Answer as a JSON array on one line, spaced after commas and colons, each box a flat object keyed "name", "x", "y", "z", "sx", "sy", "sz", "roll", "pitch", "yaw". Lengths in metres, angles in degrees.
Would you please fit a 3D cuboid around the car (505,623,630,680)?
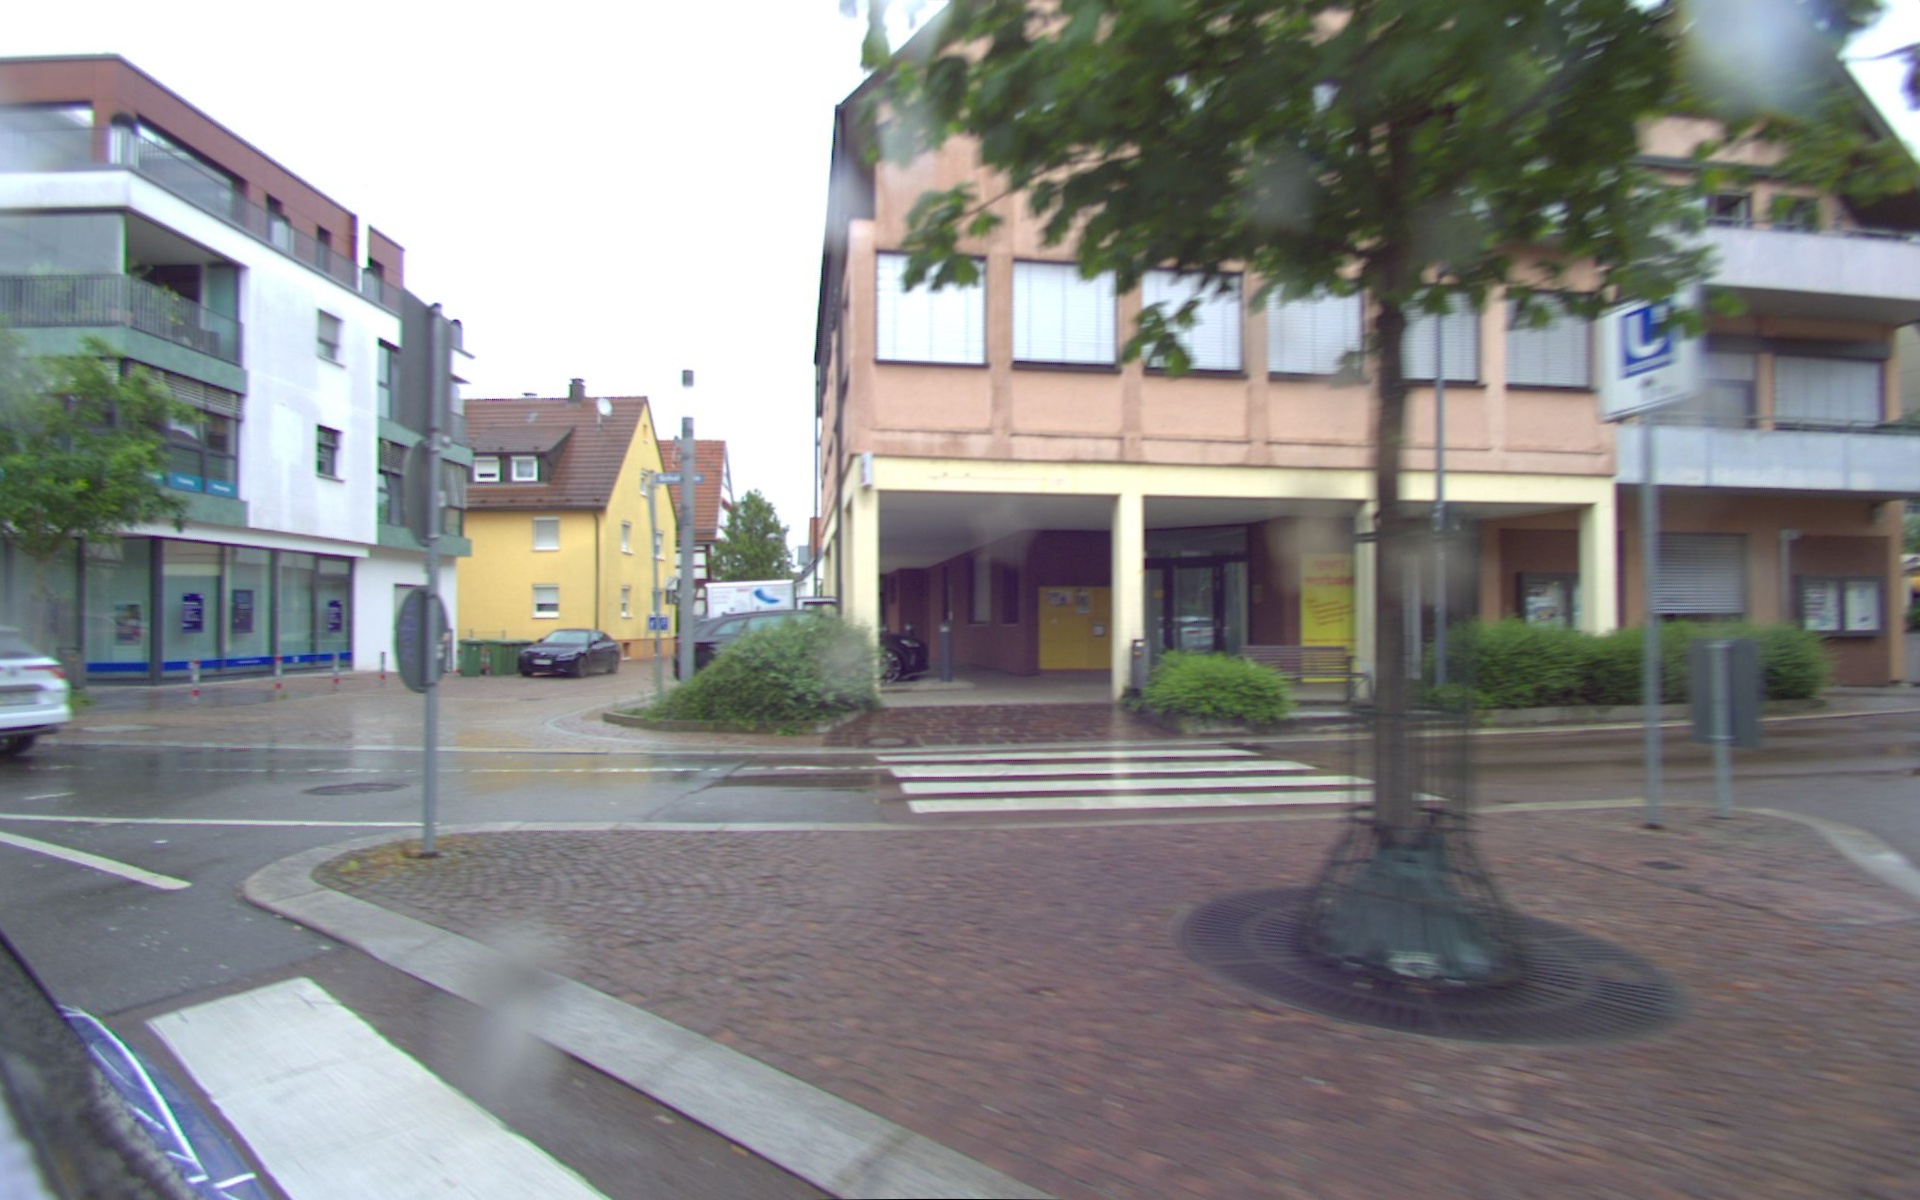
[{"name": "car", "x": -12.122, "y": 1.542, "z": 31.607, "sx": 1.974, "sy": 1.519, "sz": 4.540, "roll": 0, "pitch": 0, "yaw": 3}]

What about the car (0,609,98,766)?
[{"name": "car", "x": -11.598, "y": 0.861, "z": 9.951, "sx": 4.801, "sy": 1.503, "sz": 1.922, "roll": 0, "pitch": -2, "yaw": 4}]

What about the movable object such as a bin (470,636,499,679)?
[{"name": "movable object such as a bin", "x": -14.025, "y": 1.688, "z": 29.859, "sx": 0.623, "sy": 1.242, "sz": 0.523, "roll": 0, "pitch": 0, "yaw": 2}]

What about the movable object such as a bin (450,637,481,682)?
[{"name": "movable object such as a bin", "x": -14.060, "y": 1.692, "z": 28.787, "sx": 0.623, "sy": 1.242, "sz": 0.523, "roll": 0, "pitch": 0, "yaw": 2}]

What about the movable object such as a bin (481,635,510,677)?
[{"name": "movable object such as a bin", "x": -13.978, "y": 1.672, "z": 30.452, "sx": 0.623, "sy": 1.242, "sz": 0.523, "roll": 0, "pitch": 0, "yaw": 2}]

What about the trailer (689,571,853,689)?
[{"name": "trailer", "x": -3.810, "y": 0.612, "z": 20.680, "sx": 3.044, "sy": 2.104, "sz": 1.839, "roll": -4, "pitch": -2, "yaw": -8}]

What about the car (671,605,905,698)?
[{"name": "car", "x": -3.034, "y": 0.870, "z": 18.155, "sx": 3.936, "sy": 1.519, "sz": 1.839, "roll": 0, "pitch": 0, "yaw": -8}]

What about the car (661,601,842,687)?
[{"name": "car", "x": -4.832, "y": 1.024, "z": 23.787, "sx": 3.937, "sy": 1.684, "sz": 1.839, "roll": -4, "pitch": -2, "yaw": -8}]
